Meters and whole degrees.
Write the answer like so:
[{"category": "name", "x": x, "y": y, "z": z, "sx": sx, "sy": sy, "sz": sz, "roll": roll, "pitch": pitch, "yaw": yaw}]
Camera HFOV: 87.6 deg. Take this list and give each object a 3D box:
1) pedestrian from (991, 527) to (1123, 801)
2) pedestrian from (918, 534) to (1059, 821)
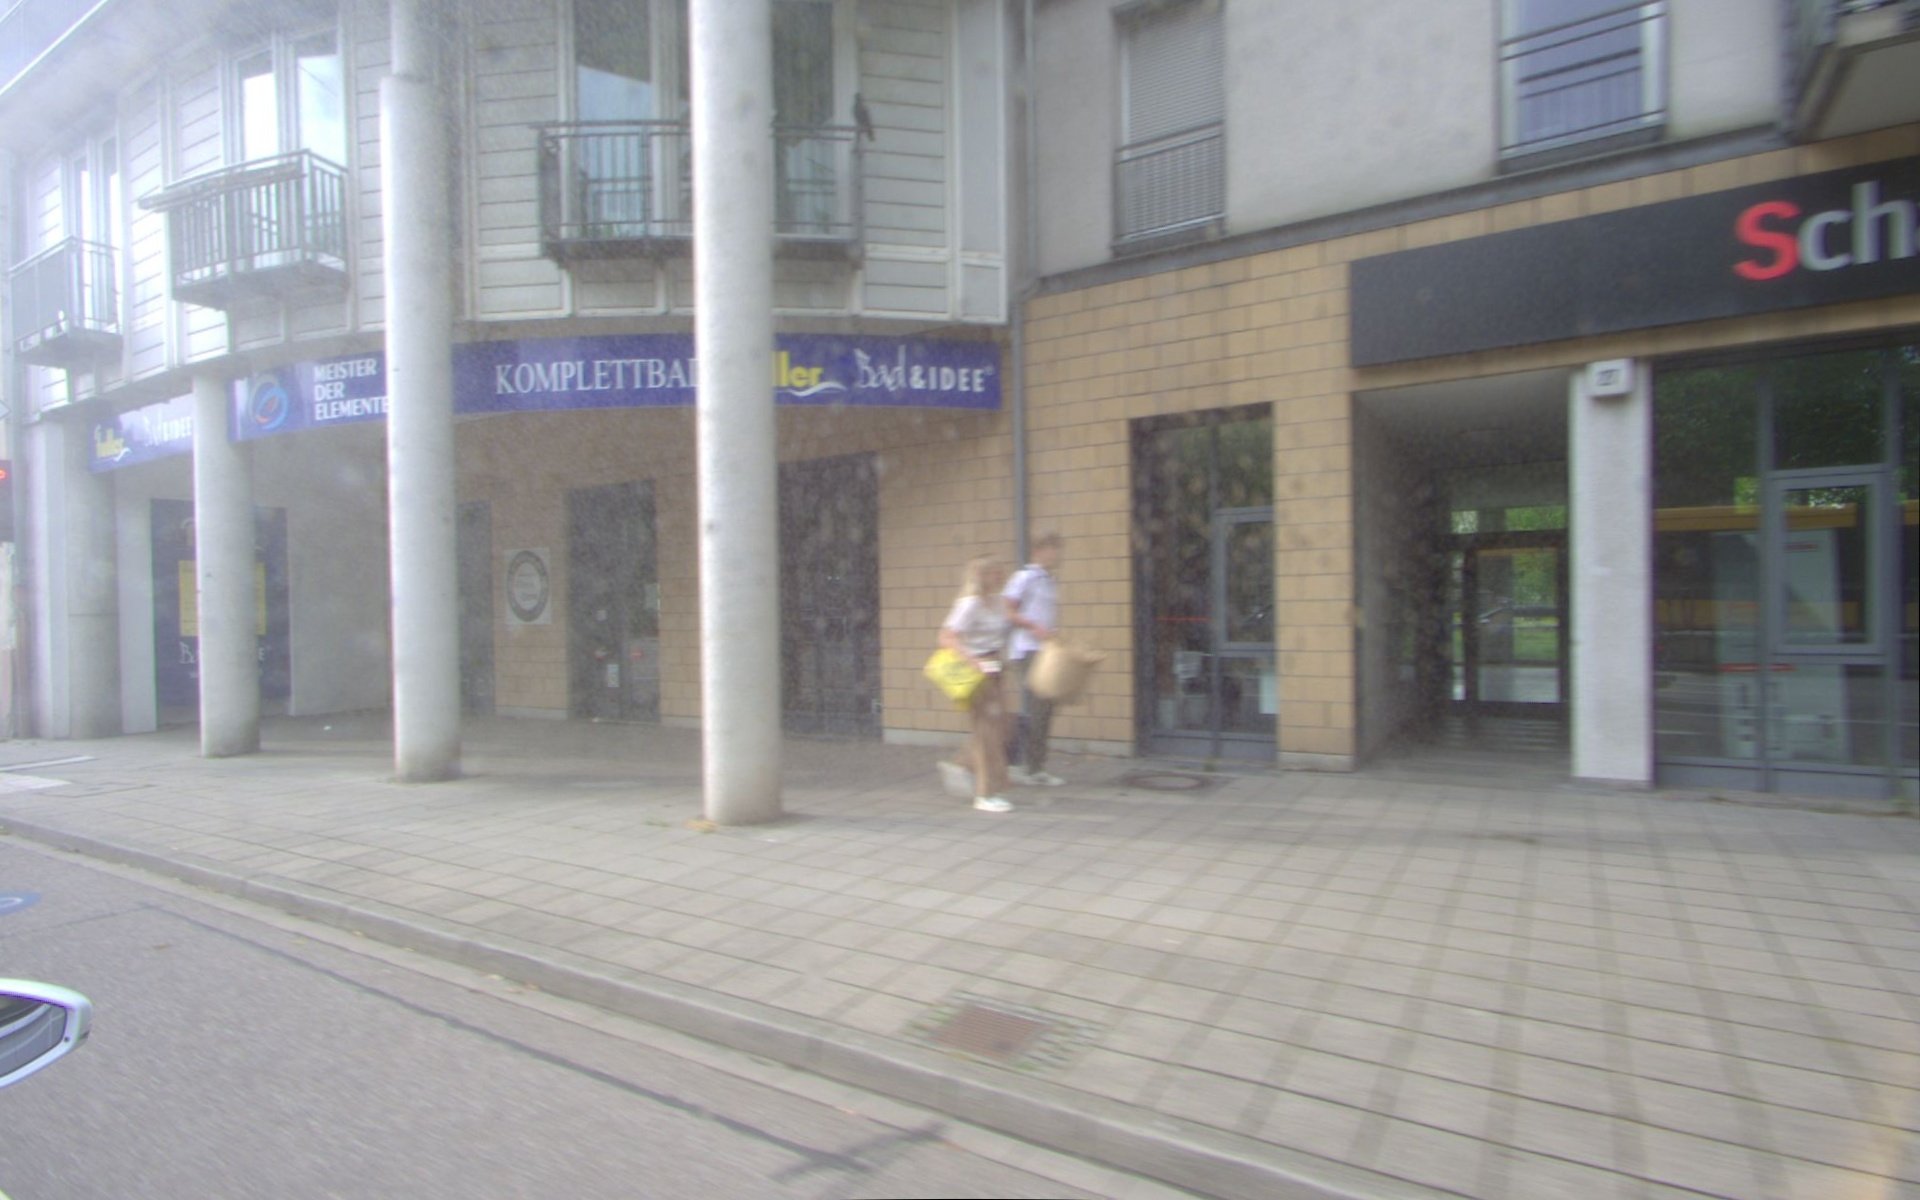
[{"category": "pedestrian", "x": 0.732, "y": 0.453, "z": 7.497, "sx": 0.727, "sy": 1.916, "sz": 0.673, "roll": -1, "pitch": 1, "yaw": 33}, {"category": "pedestrian", "x": 0.203, "y": 0.500, "z": 6.850, "sx": 0.727, "sy": 1.829, "sz": 0.614, "roll": -1, "pitch": 1, "yaw": 33}]
